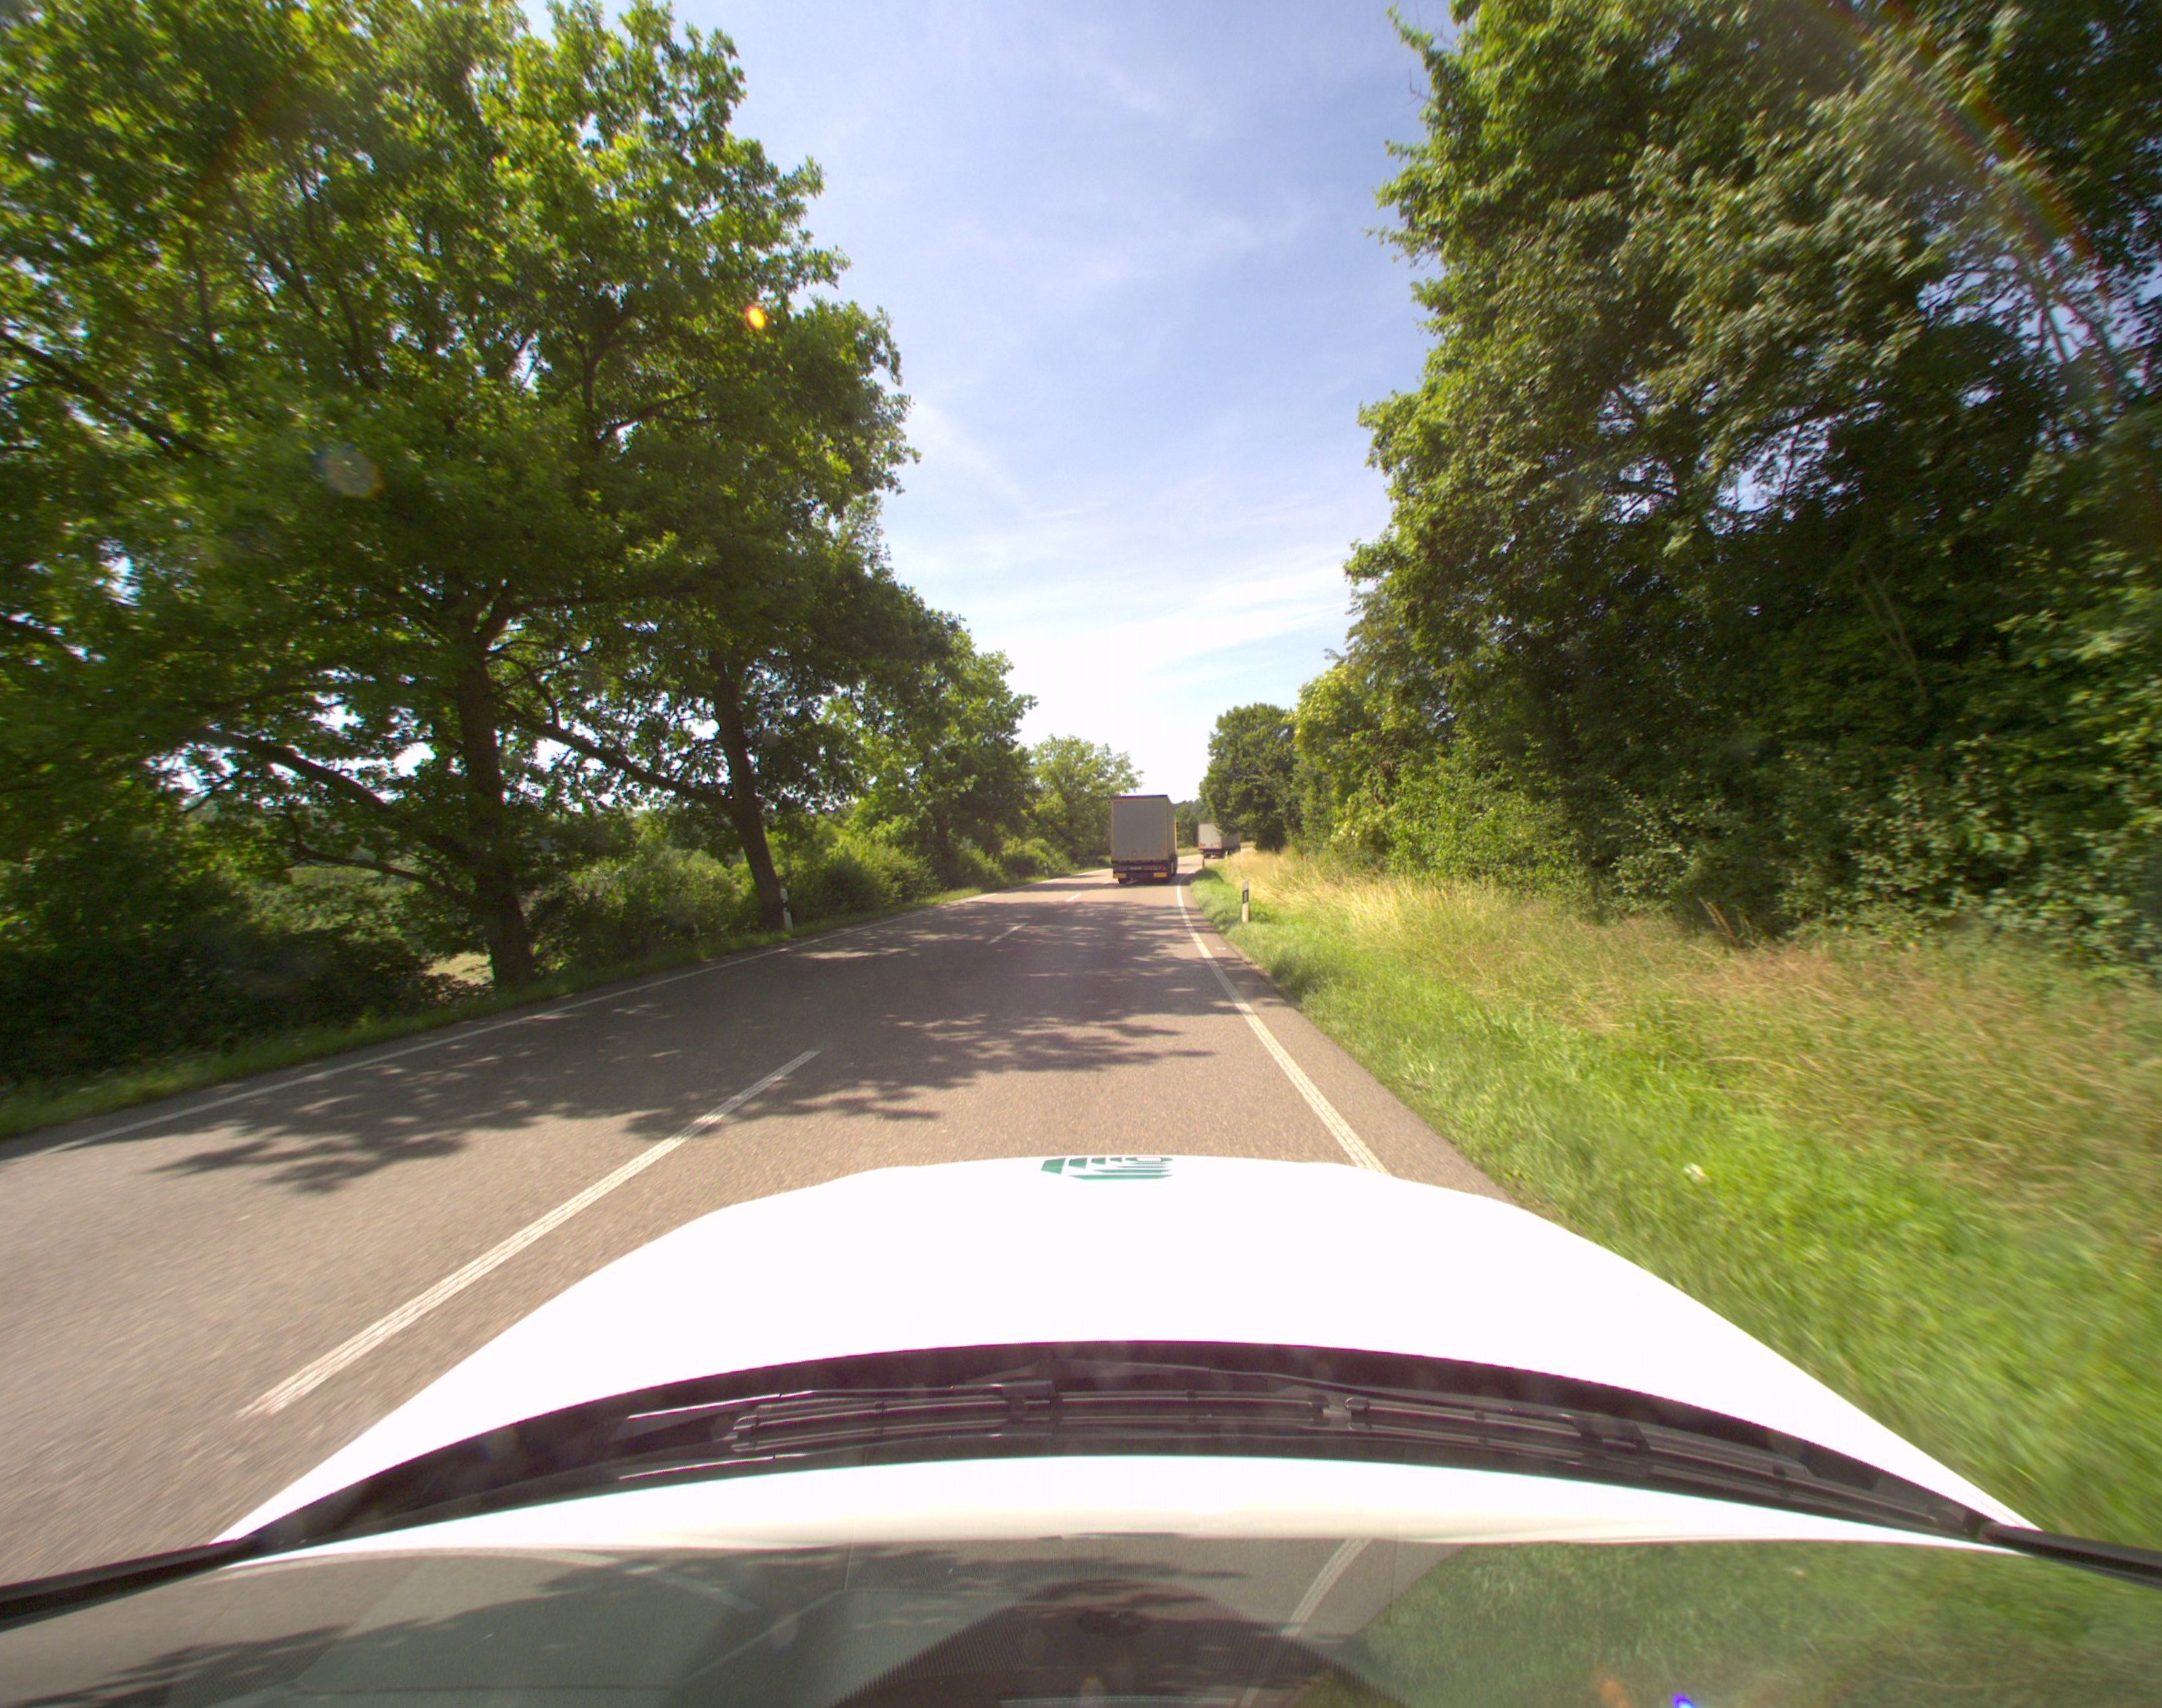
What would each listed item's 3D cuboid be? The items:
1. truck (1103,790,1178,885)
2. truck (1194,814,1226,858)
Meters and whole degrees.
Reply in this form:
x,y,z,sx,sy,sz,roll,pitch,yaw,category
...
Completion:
x,y,z,sx,sy,sz,roll,pitch,yaw,category
3.483,-0.826,43.085,2.786,4.068,15.362,-2,1,8,truck
15.459,-2.114,96.598,3.085,4.705,16.640,-2,1,11,truck
